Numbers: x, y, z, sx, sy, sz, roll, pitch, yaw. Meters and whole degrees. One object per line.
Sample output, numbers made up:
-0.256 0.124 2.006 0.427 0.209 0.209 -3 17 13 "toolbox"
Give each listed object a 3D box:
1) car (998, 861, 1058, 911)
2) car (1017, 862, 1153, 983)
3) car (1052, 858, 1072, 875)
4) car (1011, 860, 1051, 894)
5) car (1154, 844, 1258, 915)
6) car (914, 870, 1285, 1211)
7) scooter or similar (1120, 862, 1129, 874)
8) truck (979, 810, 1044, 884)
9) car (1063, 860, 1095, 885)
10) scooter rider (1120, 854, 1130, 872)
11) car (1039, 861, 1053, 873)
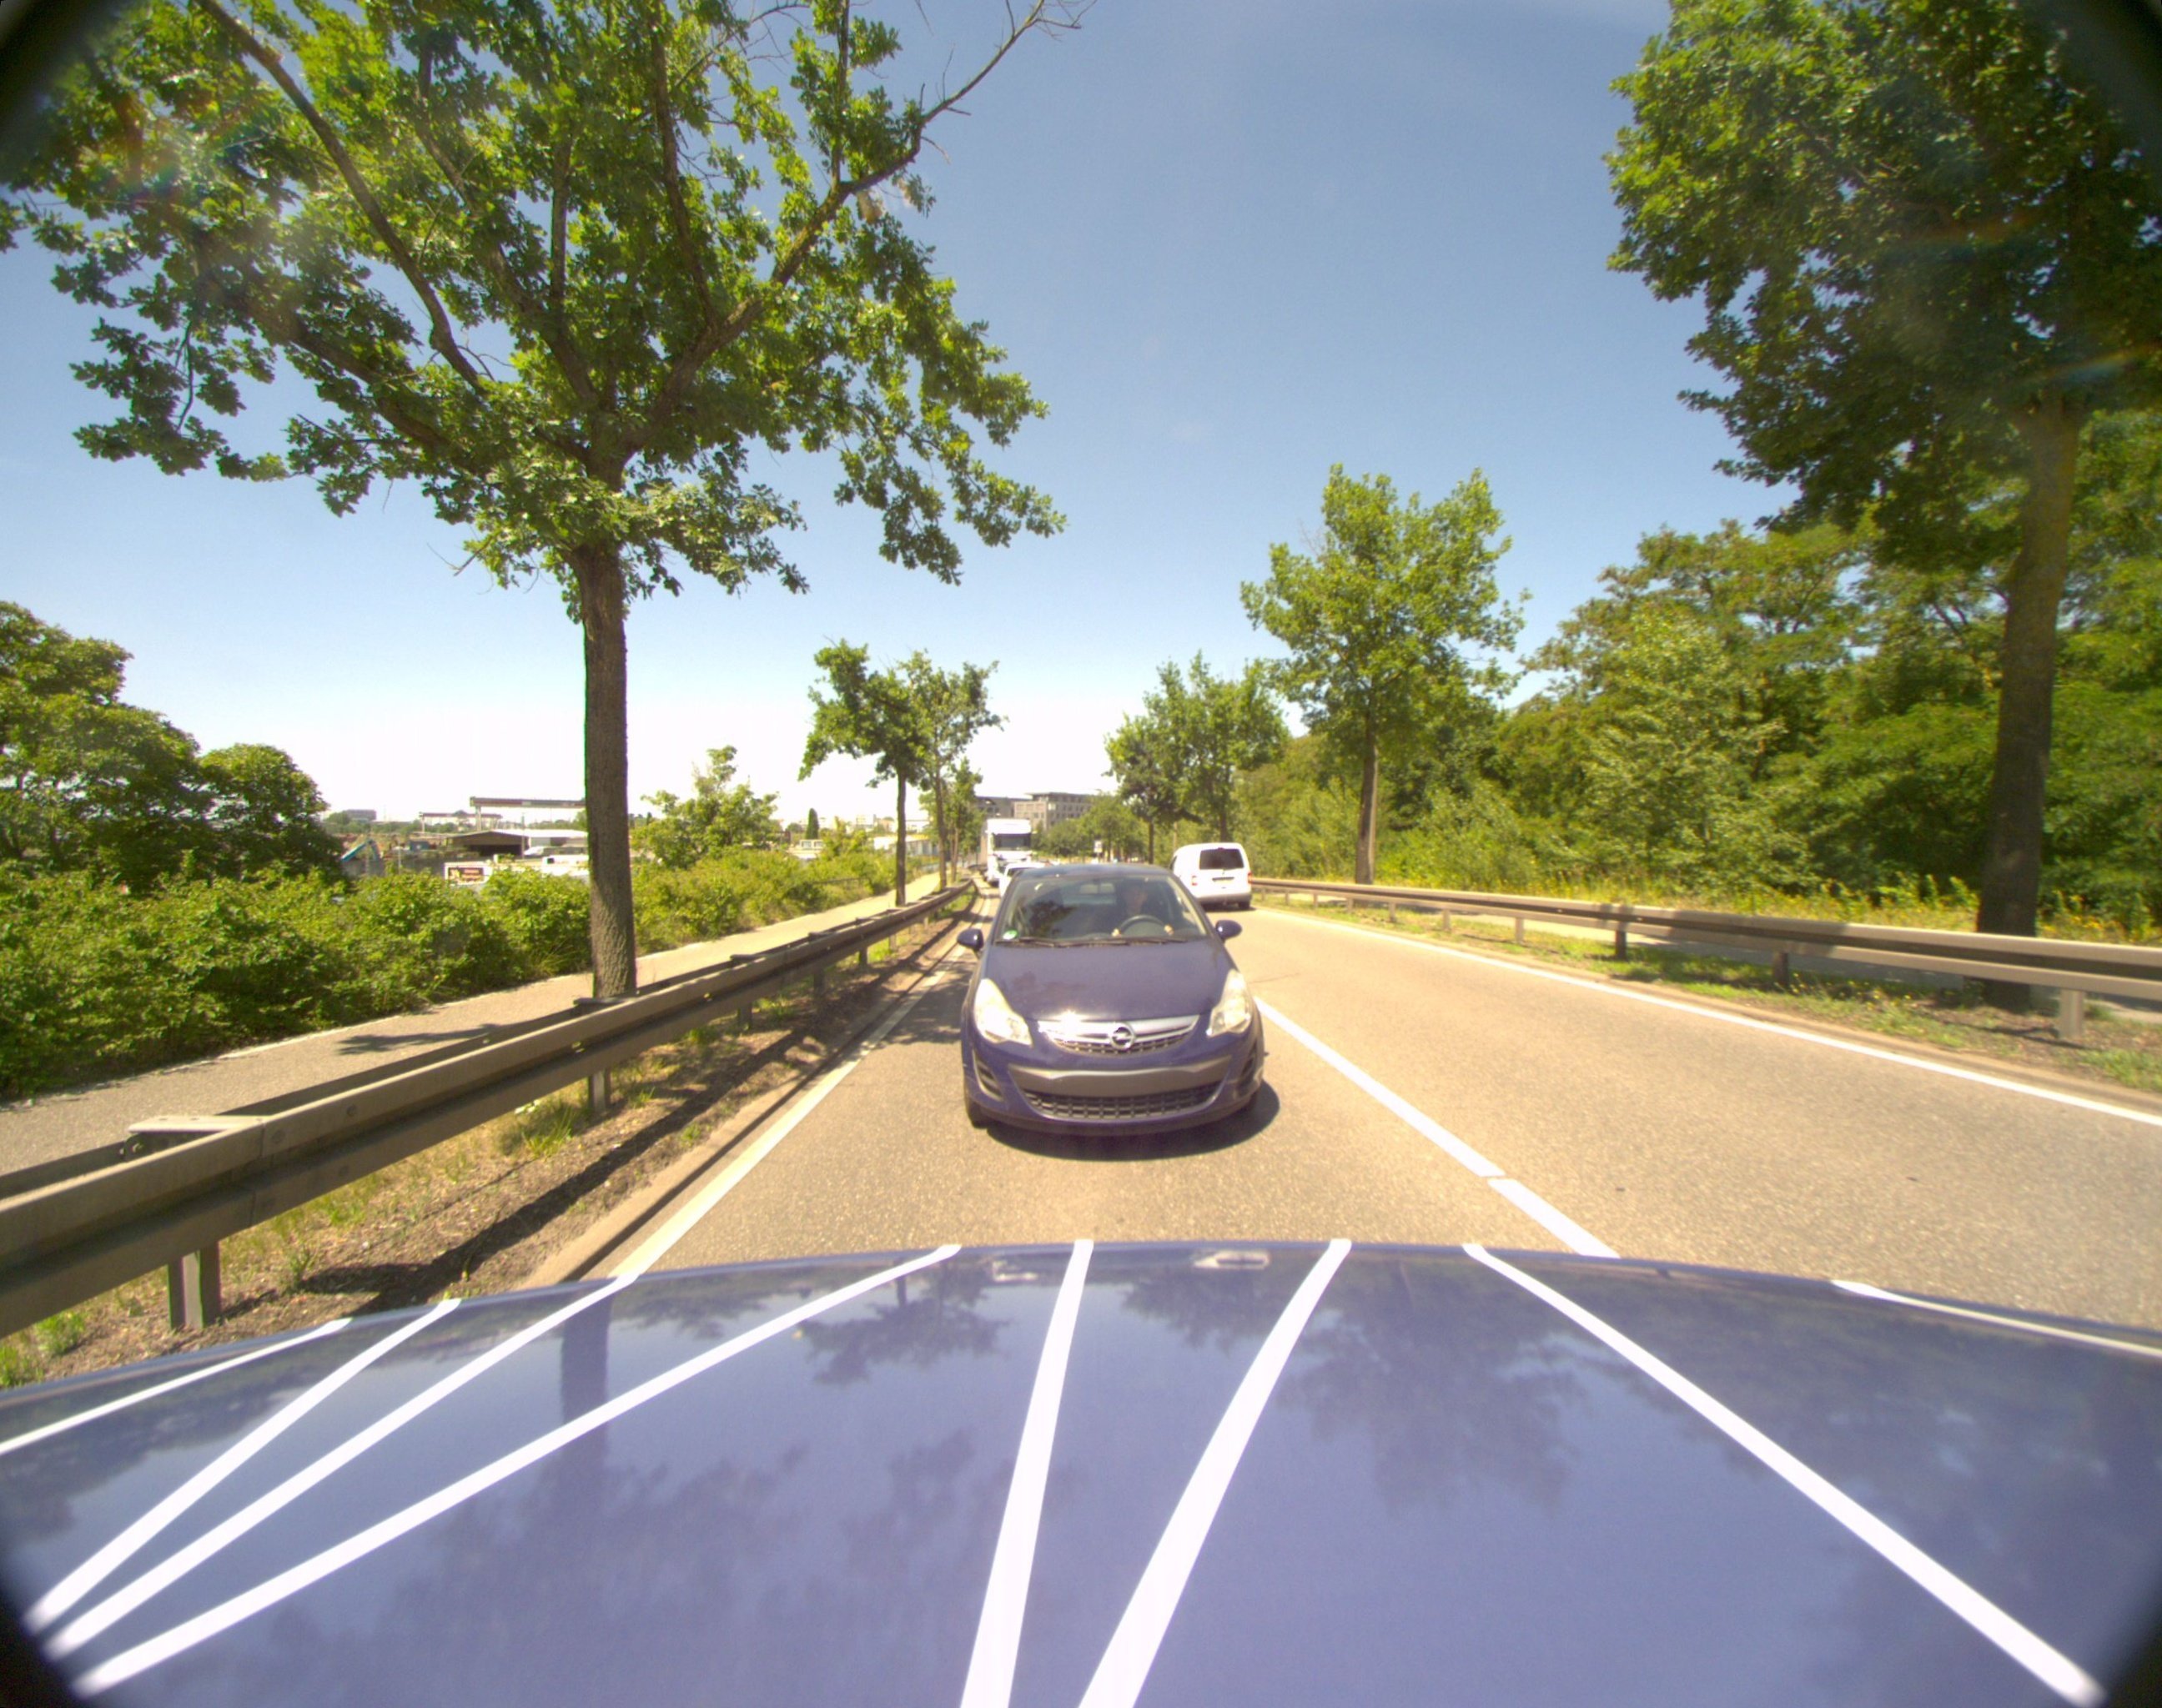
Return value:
-1.749 0.993 25.145 1.781 1.398 3.998 -2 0 -4 "car"
0.002 0.940 12.183 1.780 1.498 3.895 -2 0 -2 "car"
-1.857 1.217 74.571 1.754 1.546 4.126 -2 0 0 "car"
-2.651 1.161 39.333 1.781 1.569 3.997 -2 0 -7 "car"
3.408 0.648 21.574 1.751 1.753 4.386 -2 0 -6 "car"
0.043 0.927 5.540 1.720 1.455 3.837 -2 0 -2 "car"
3.980 1.282 69.371 0.779 1.085 1.095 -2 1 1 "scooter or similar"
-5.098 -0.393 52.032 3.073 4.146 16.896 -2 0 -9 "truck"
-0.181 1.114 47.282 1.561 1.364 3.886 -2 0 -6 "car"
3.994 0.822 69.355 0.779 1.648 1.120 -2 1 1 "scooter rider"
-6.708 2.456 145.547 1.779 2.002 4.002 -2 0 9 "car"
